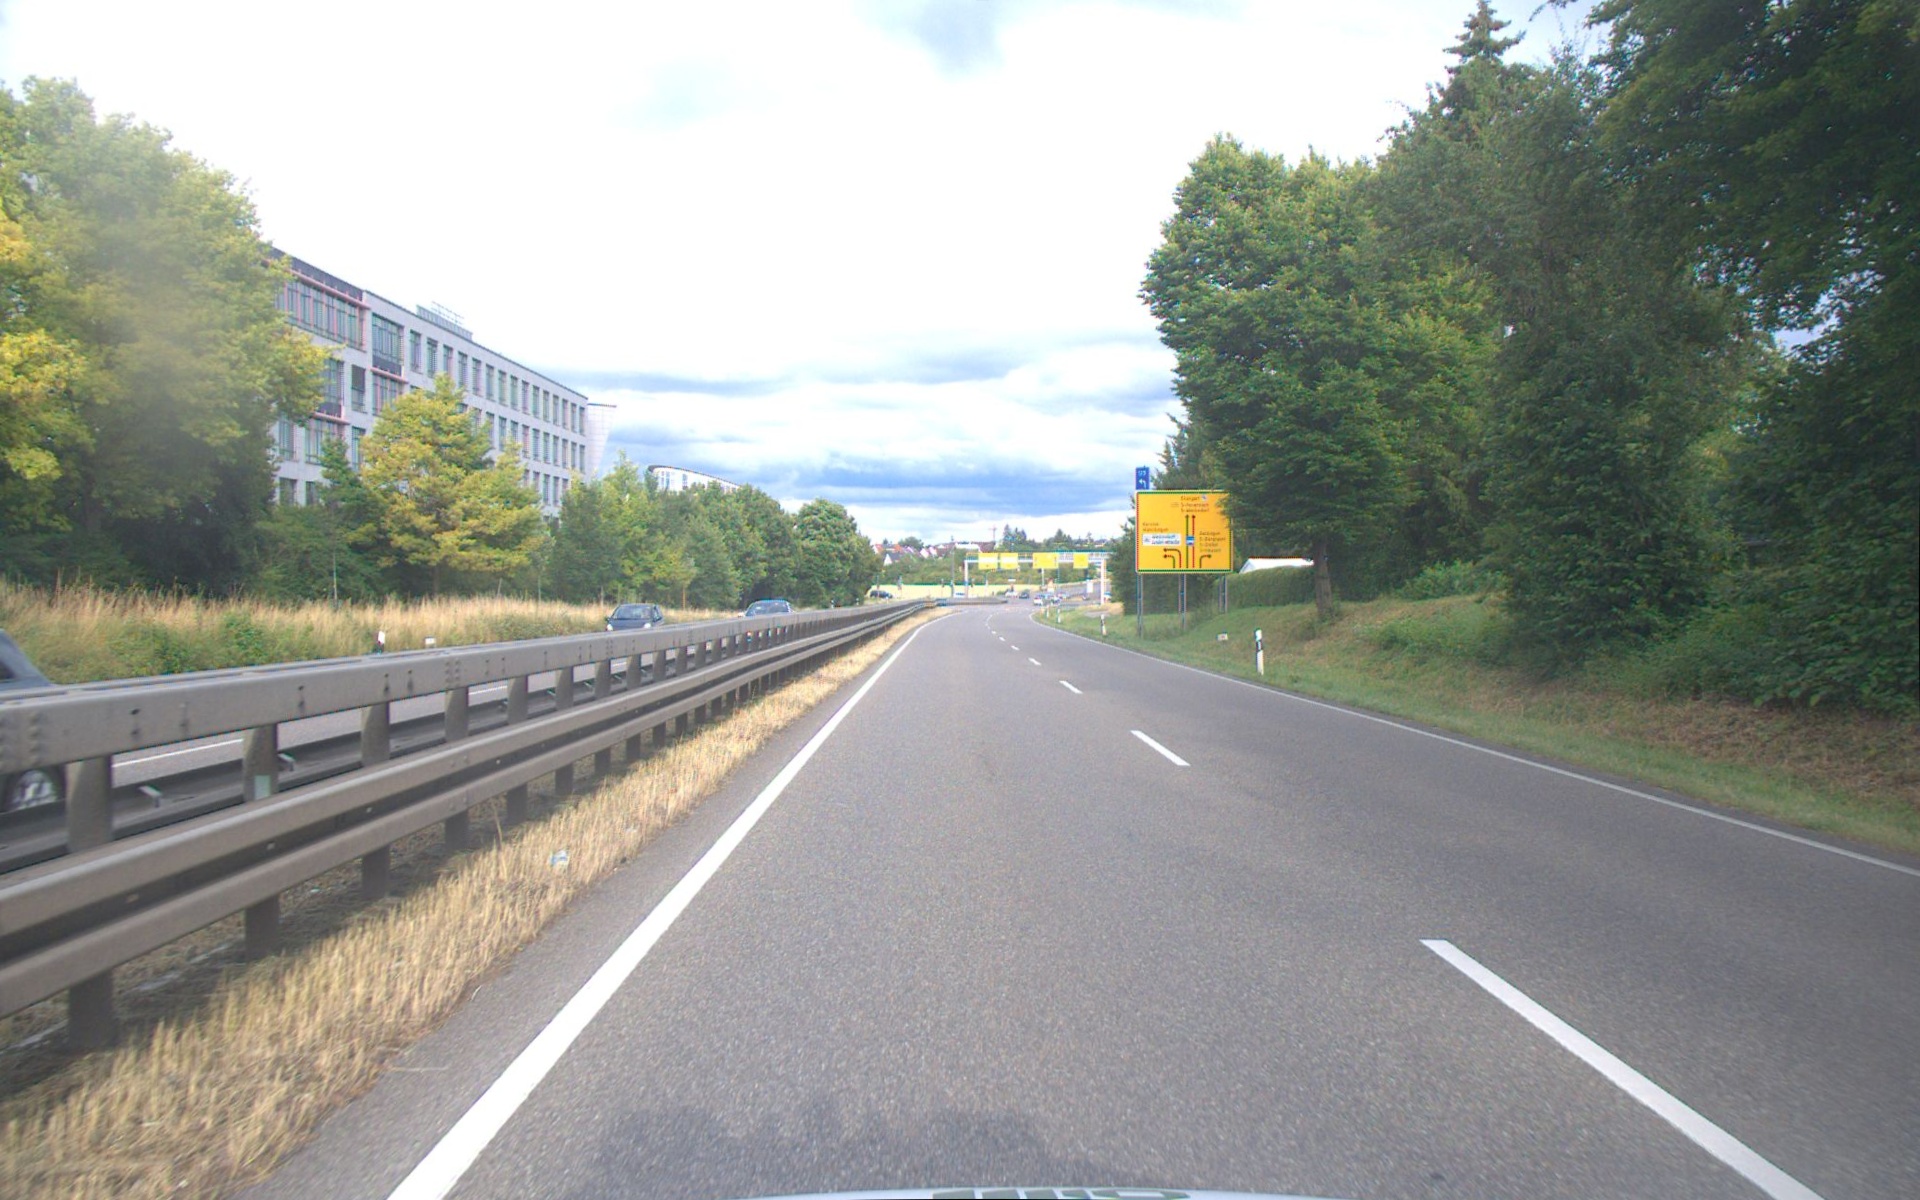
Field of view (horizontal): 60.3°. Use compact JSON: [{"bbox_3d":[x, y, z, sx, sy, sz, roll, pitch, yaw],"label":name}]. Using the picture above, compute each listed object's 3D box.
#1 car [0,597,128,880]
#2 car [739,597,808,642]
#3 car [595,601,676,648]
[{"bbox_3d":[-5.900,0.756,7.910,1.707,1.483,4.310,-2,0,-1],"label":"car"},{"bbox_3d":[-6.076,0.609,54.232,1.797,1.403,4.565,0,0,-1],"label":"car"},{"bbox_3d":[-10.513,0.772,53.883,1.720,1.447,4.566,0,0,0],"label":"car"}]
